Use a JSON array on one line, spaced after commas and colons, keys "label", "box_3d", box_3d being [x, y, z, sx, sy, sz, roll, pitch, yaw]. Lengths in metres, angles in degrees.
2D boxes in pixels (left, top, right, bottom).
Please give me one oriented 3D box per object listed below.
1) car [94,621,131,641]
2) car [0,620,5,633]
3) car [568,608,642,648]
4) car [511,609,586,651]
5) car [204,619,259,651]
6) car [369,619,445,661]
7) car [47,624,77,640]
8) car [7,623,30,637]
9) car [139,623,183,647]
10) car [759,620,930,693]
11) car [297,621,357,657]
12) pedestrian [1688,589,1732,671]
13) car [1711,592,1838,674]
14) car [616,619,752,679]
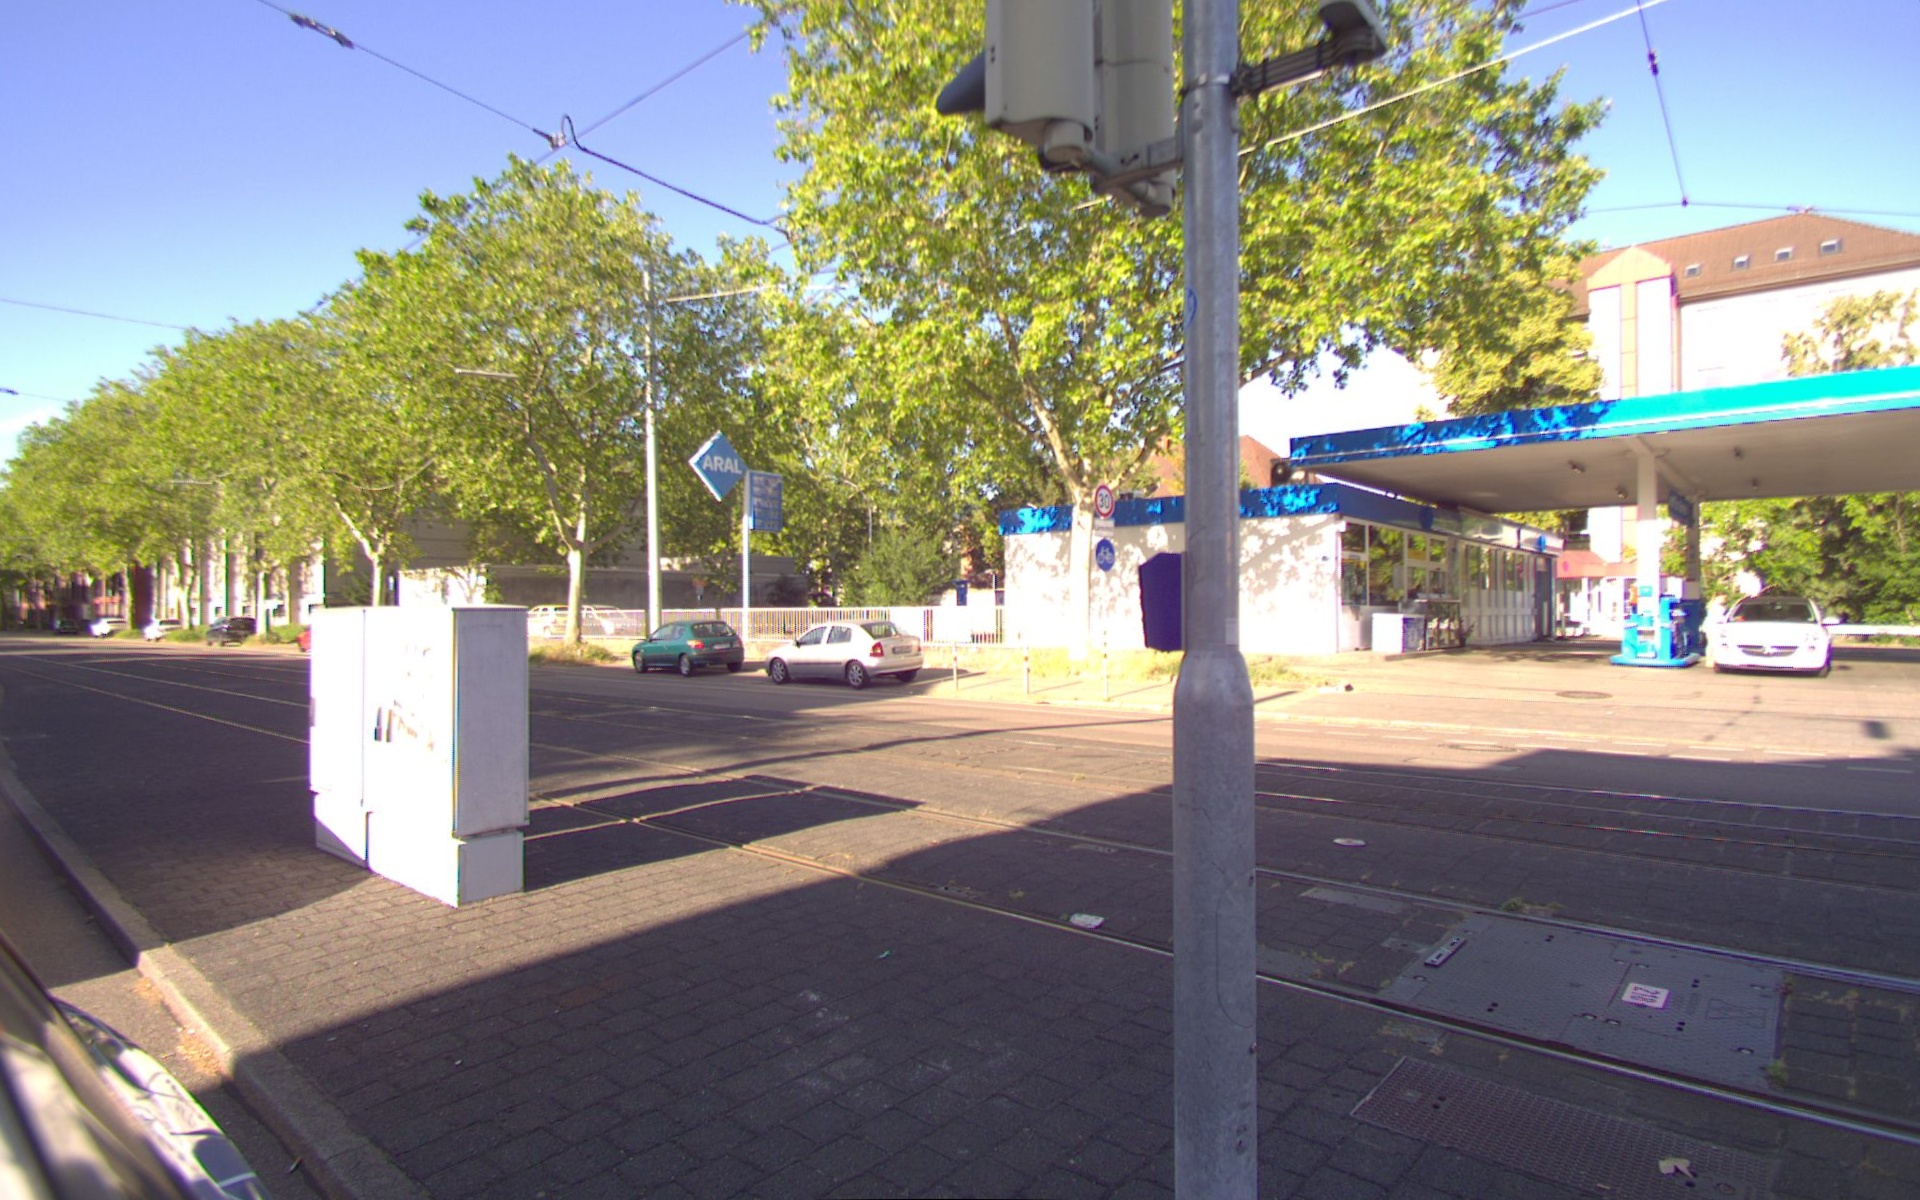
[{"label": "car", "box_3d": [-66.675, 2.444, 79.601, 3.748, 1.459, 1.674, -1, 1, 41]}, {"label": "car", "box_3d": [-133.925, 3.674, 140.468, 3.748, 1.798, 1.674, -1, 1, 41]}, {"label": "car", "box_3d": [-15.263, 1.195, 43.441, 3.303, 1.604, 1.579, -1, 0, 41]}, {"label": "car", "box_3d": [-17.082, 1.230, 41.964, 3.303, 1.628, 1.579, -1, 0, 41]}, {"label": "car", "box_3d": [-40.673, 1.938, 56.447, 3.748, 1.670, 1.674, -1, 1, 41]}, {"label": "car", "box_3d": [-21.874, 1.557, 39.996, 3.303, 1.519, 1.579, -1, 1, 41]}, {"label": "car", "box_3d": [-85.235, 3.027, 96.039, 3.748, 1.459, 1.674, -1, 1, 41]}, {"label": "car", "box_3d": [-112.134, 3.560, 120.500, 3.748, 1.459, 1.674, -1, 1, 41]}, {"label": "car", "box_3d": [-53.858, 2.341, 68.173, 3.748, 1.459, 1.674, -1, 1, 41]}, {"label": "car", "box_3d": [-2.634, 1.205, 22.636, 3.812, 1.413, 1.674, -1, 1, 41]}, {"label": "car", "box_3d": [-28.683, 1.755, 45.824, 2.621, 1.519, 1.579, -1, 1, 41]}, {"label": "pedestrian", "box_3d": [15.998, 0.637, 21.587, 0.493, 1.714, 0.649, 1, -2, -45]}, {"label": "car", "box_3d": [15.888, 0.610, 19.689, 1.757, 1.453, 3.521, -1, -1, 41]}, {"label": "car", "box_3d": [-7.398, 1.265, 26.964, 3.748, 1.413, 1.674, -1, 1, 41]}]
